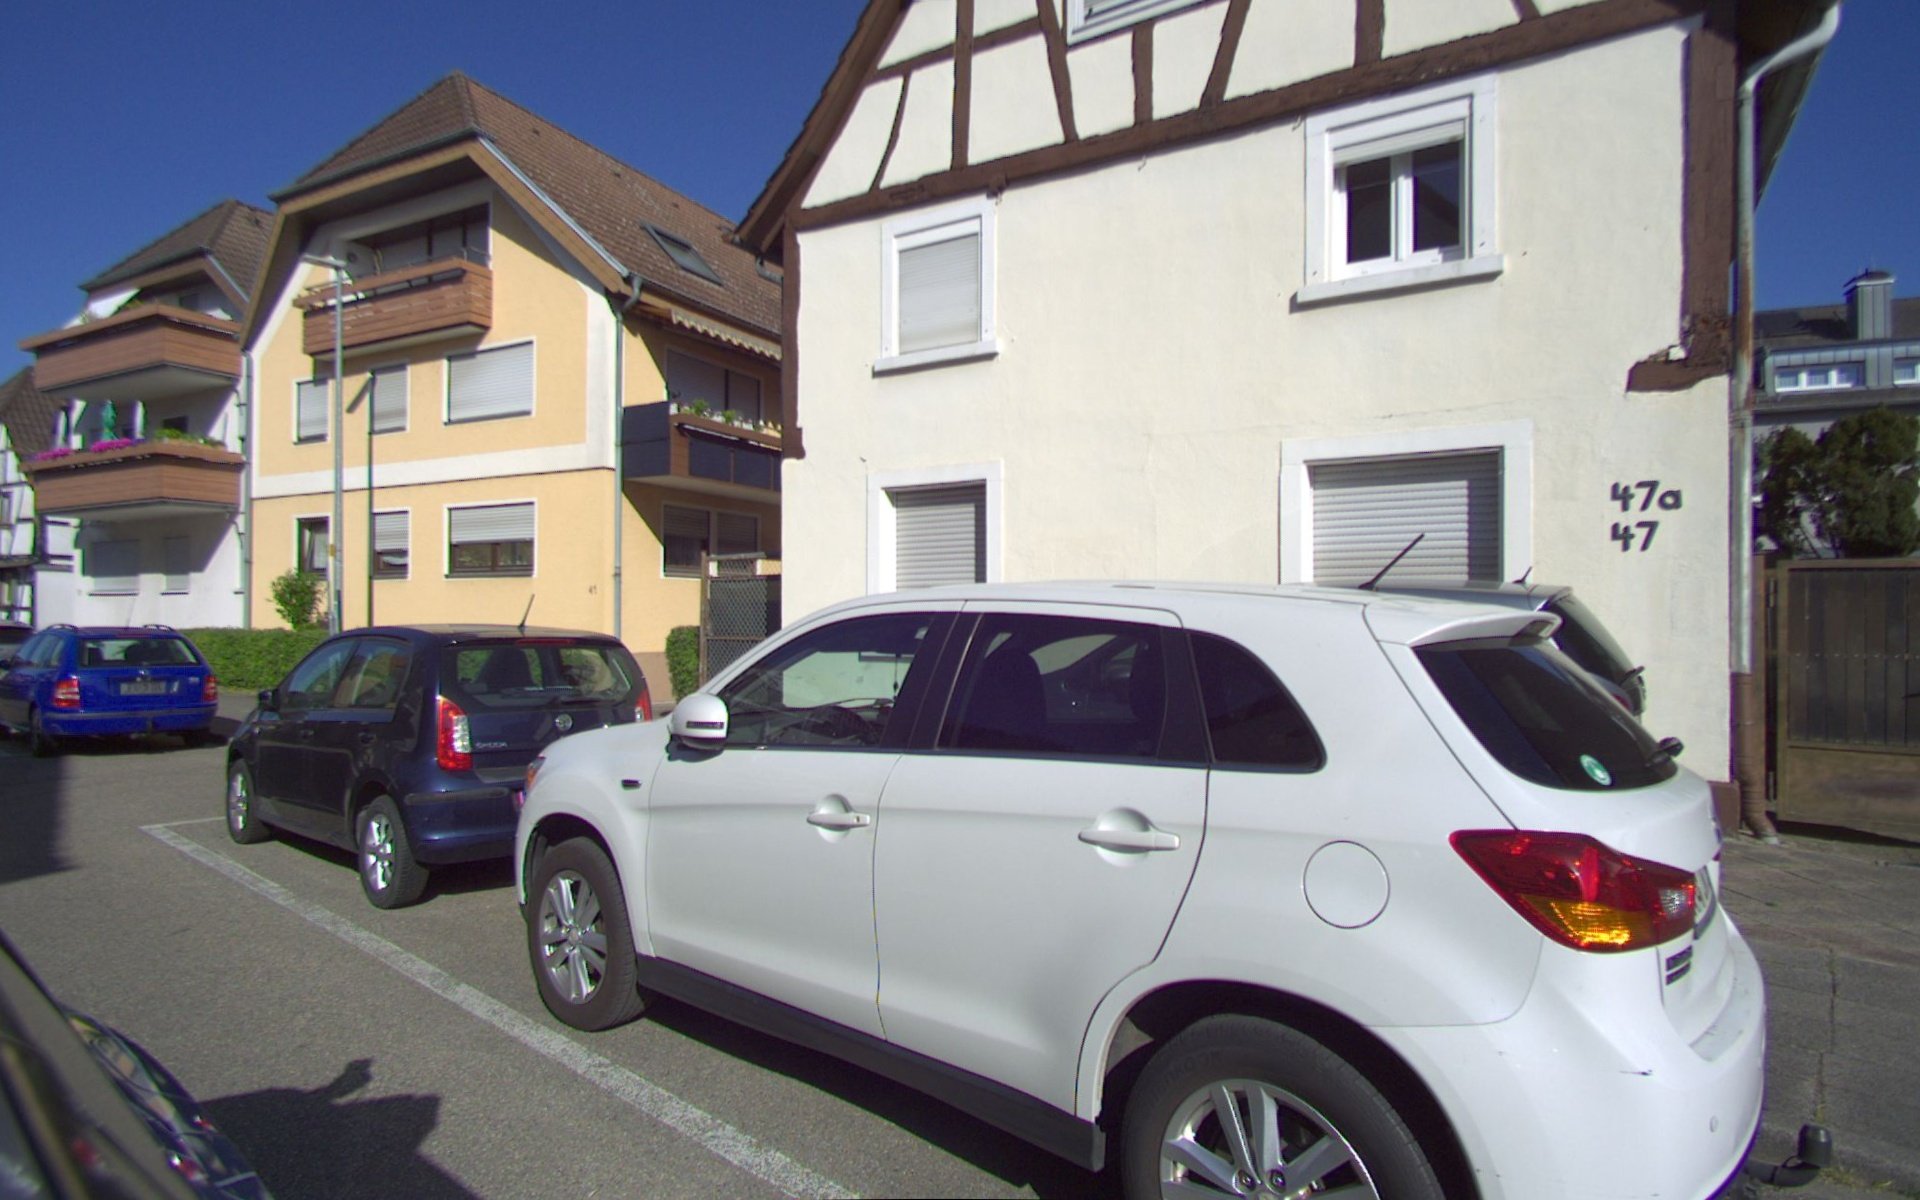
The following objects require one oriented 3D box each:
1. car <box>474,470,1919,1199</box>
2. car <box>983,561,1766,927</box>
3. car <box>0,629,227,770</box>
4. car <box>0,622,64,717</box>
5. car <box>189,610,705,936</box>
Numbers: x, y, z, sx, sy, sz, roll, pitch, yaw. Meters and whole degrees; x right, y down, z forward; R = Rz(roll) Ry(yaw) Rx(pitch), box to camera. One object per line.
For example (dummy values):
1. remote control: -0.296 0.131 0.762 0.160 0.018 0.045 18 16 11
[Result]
1. car: 0.261 0.698 3.246 4.108 1.631 1.705 -1 -2 40
2. car: 2.294 0.669 6.288 4.102 1.599 1.628 -1 -1 35
3. car: -10.544 1.087 12.300 3.950 1.450 1.603 -2 -2 38
4. car: -17.433 1.171 17.753 3.992 1.568 1.743 -1 -2 36
5. car: -3.452 0.859 6.554 3.680 1.519 1.639 -1 -2 40
